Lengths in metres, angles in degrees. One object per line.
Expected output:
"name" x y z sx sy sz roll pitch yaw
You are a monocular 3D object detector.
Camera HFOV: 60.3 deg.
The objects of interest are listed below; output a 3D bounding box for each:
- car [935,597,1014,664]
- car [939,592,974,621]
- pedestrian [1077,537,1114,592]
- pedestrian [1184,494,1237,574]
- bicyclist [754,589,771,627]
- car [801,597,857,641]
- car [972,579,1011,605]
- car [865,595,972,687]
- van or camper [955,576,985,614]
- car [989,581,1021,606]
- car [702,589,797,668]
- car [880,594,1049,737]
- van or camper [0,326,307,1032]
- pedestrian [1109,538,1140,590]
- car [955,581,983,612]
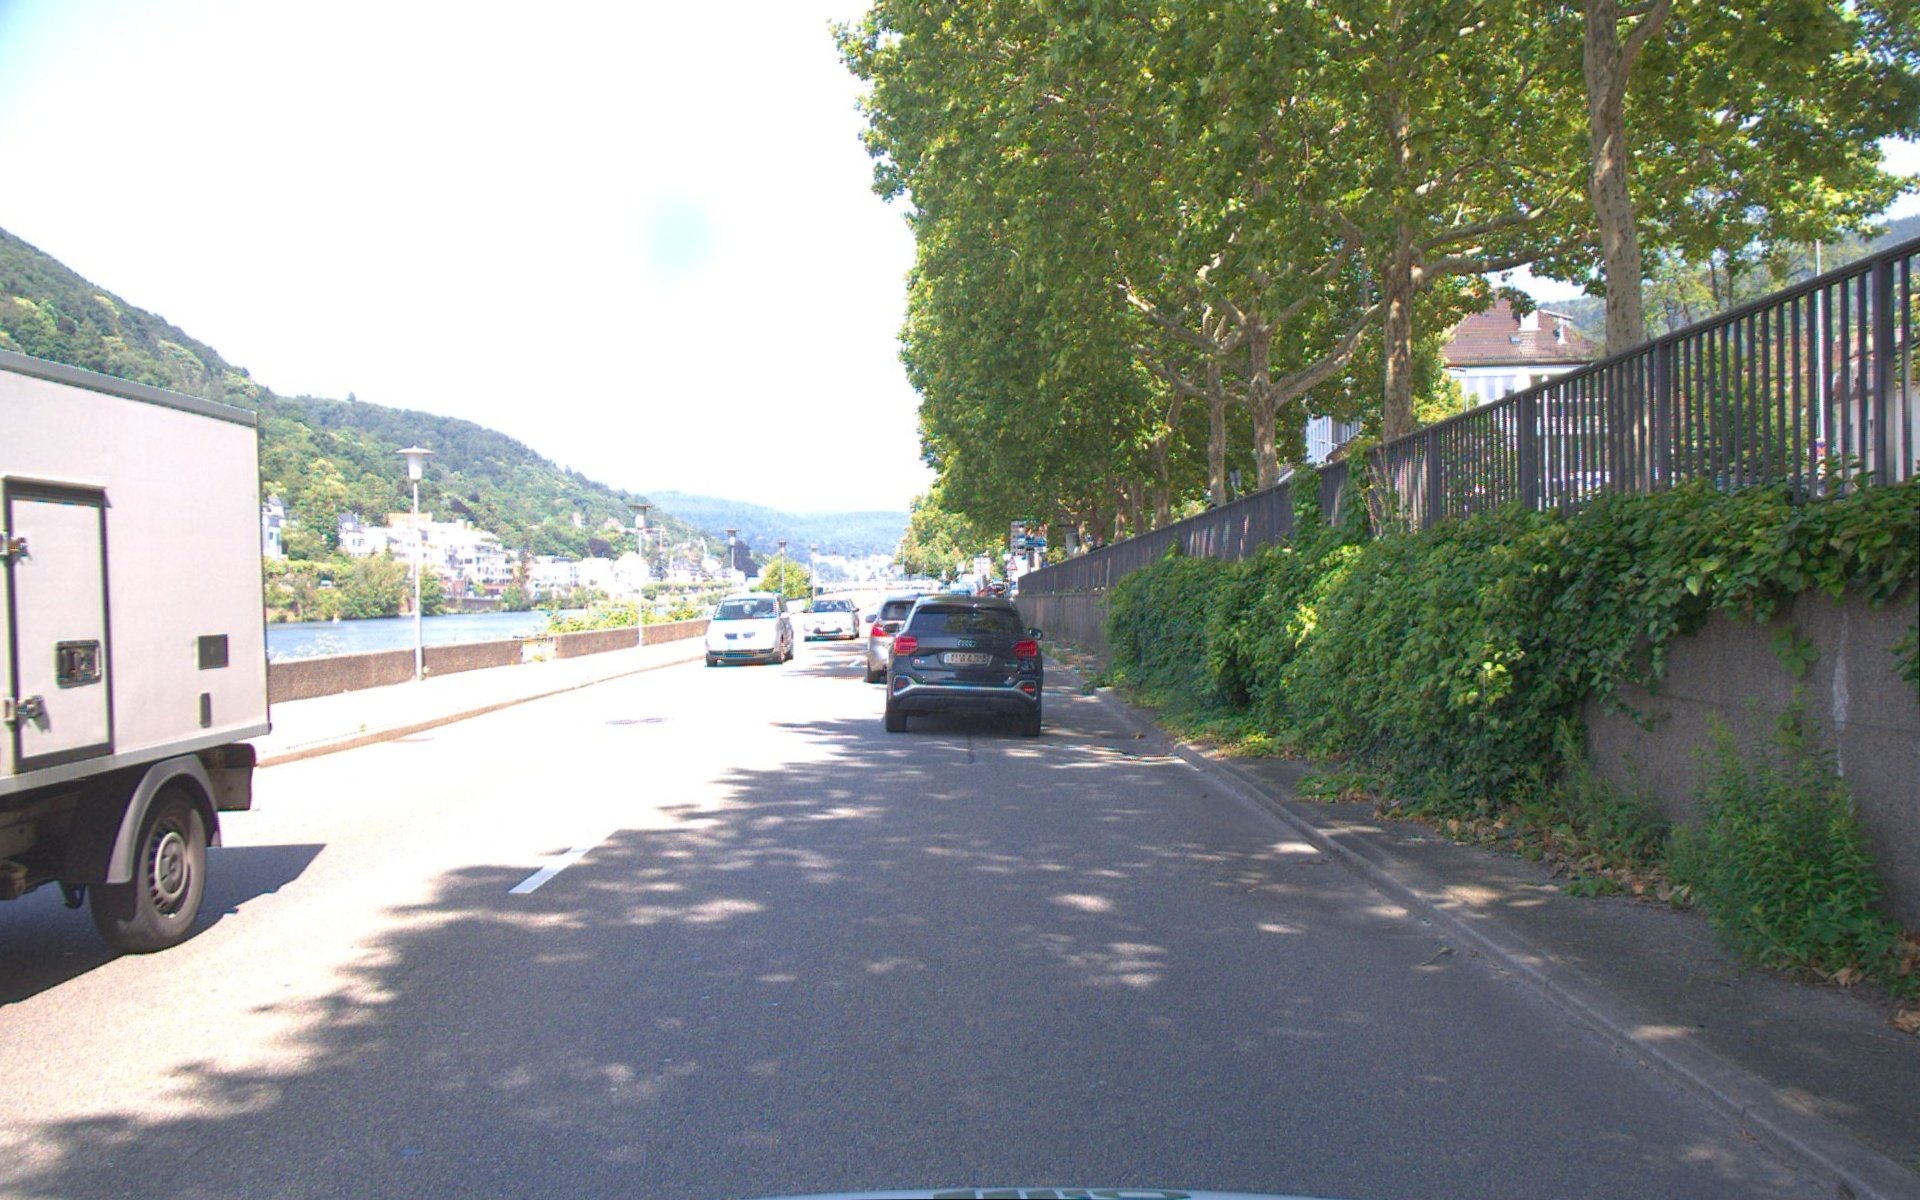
"car" 0.295 0.694 39.978 1.791 1.512 3.999 0 0 -1
"car" -0.198 0.322 87.557 1.791 1.470 3.999 0 0 -1
"pedestrian" 4.083 -1.065 50.006 0.918 1.607 1.027 -3 0 -3
"pedestrian" 4.587 -1.194 30.303 0.738 1.389 0.814 -3 0 -3
"bicyclist" -8.931 0.337 74.820 0.624 1.703 0.871 -1 0 -1
"car" -4.513 0.634 57.424 1.696 1.467 4.044 -1 0 -1
"car" 2.697 -0.675 141.858 3.036 2.048 5.823 -3 0 -1
"car" -0.742 0.684 29.932 1.791 1.537 3.999 0 0 -1
"van or camper" 0.795 -0.379 130.425 2.262 2.897 4.246 -1 0 1
"car" 4.108 -0.613 152.695 2.608 2.048 5.823 -3 0 -1
"car" -4.869 0.631 38.714 1.696 1.679 4.176 -2 0 -1
"car" 0.011 0.692 19.670 1.791 1.512 3.999 0 0 -1
"van or camper" -4.343 0.297 5.687 2.035 2.440 5.384 -2 0 -1
"pedestrian" 4.519 -0.982 45.559 0.666 1.389 0.989 -3 0 -1
"car" 0.623 -0.295 120.287 1.953 2.207 3.999 0 0 -1
